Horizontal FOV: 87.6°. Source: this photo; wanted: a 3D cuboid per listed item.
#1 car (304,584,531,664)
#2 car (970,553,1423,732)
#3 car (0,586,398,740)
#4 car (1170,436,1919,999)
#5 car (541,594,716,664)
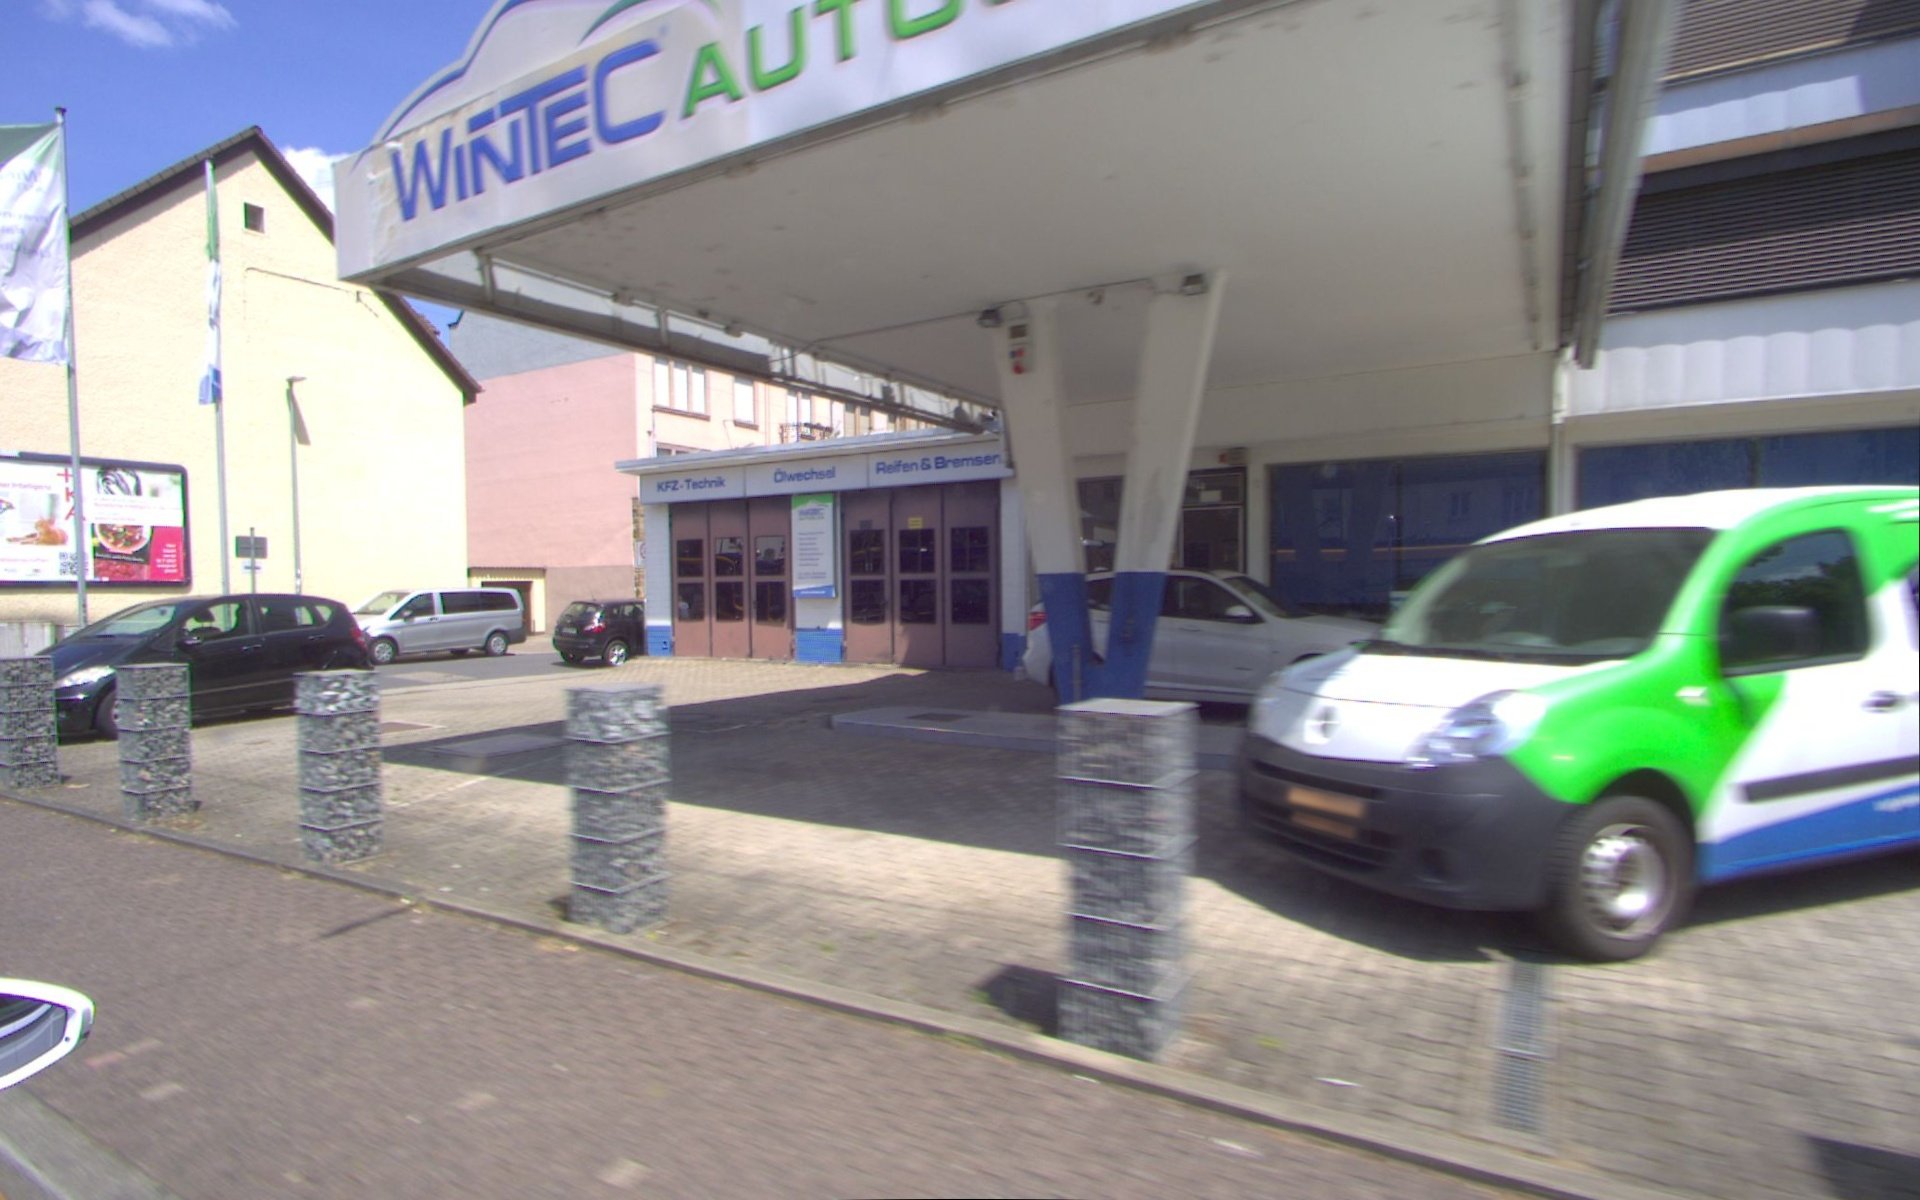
[{"bbox_3d":[-14.116,0.553,26.426,1.879,1.886,5.048,-1,0,28],"label":"car"},{"bbox_3d":[2.535,0.403,11.209,4.639,1.648,1.742,0,1,33],"label":"car"},{"bbox_3d":[-9.266,0.645,12.293,1.810,1.563,3.880,-1,0,19],"label":"car"},{"bbox_3d":[3.332,0.407,4.791,4.216,1.812,1.820,0,-1,-19],"label":"car"},{"bbox_3d":[-8.185,0.668,25.019,1.817,1.563,3.865,-1,0,33],"label":"car"}]
